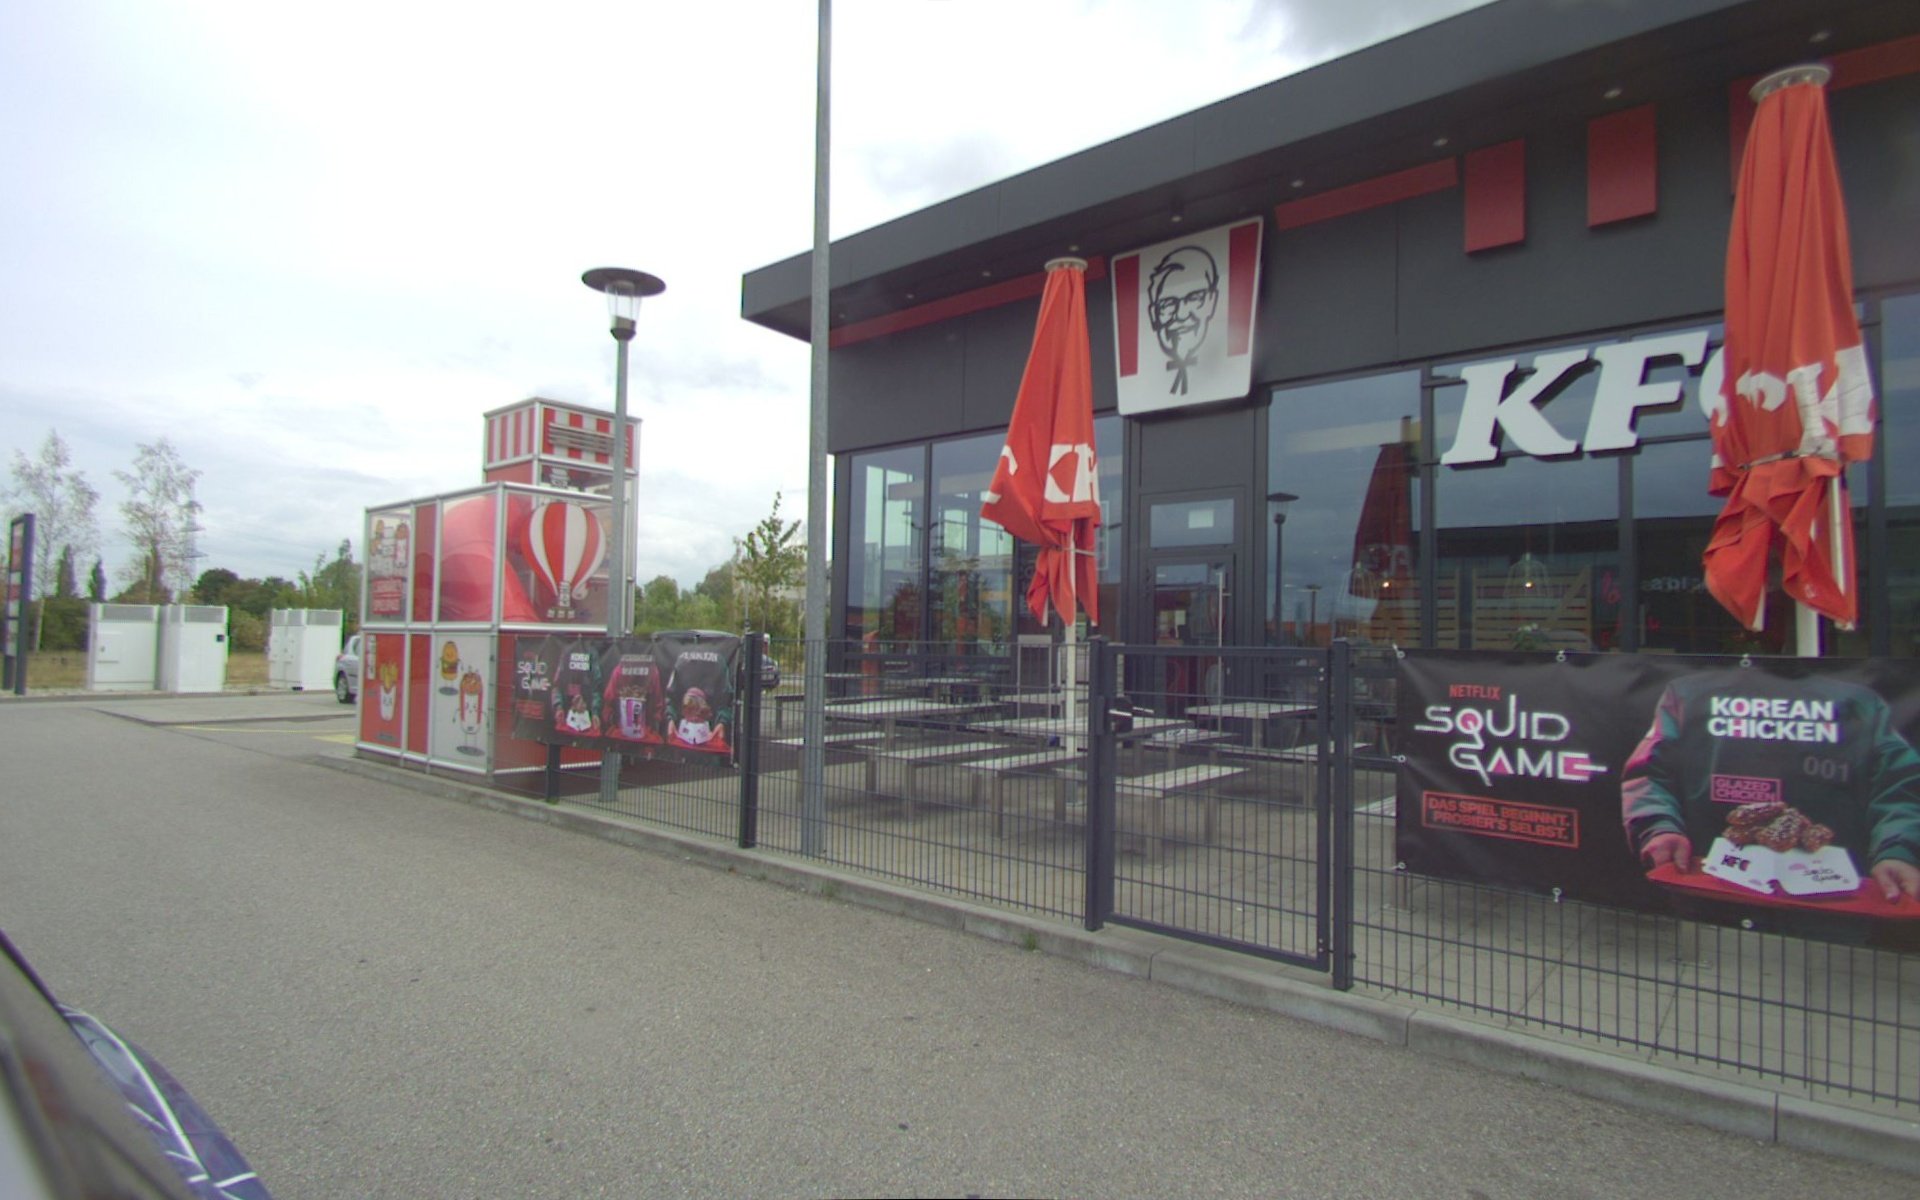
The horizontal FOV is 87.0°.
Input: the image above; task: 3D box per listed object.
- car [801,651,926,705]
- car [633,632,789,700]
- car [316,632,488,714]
[{"bbox_3d":[-2.750,2.176,28.354,3.683,1.405,1.412,-4,-5,43],"label":"car"},{"bbox_3d":[-6.533,1.680,26.276,4.482,1.629,1.564,-2,-4,40],"label":"car"},{"bbox_3d":[-11.411,1.441,20.600,4.164,1.516,1.607,-2,-4,40],"label":"car"}]
